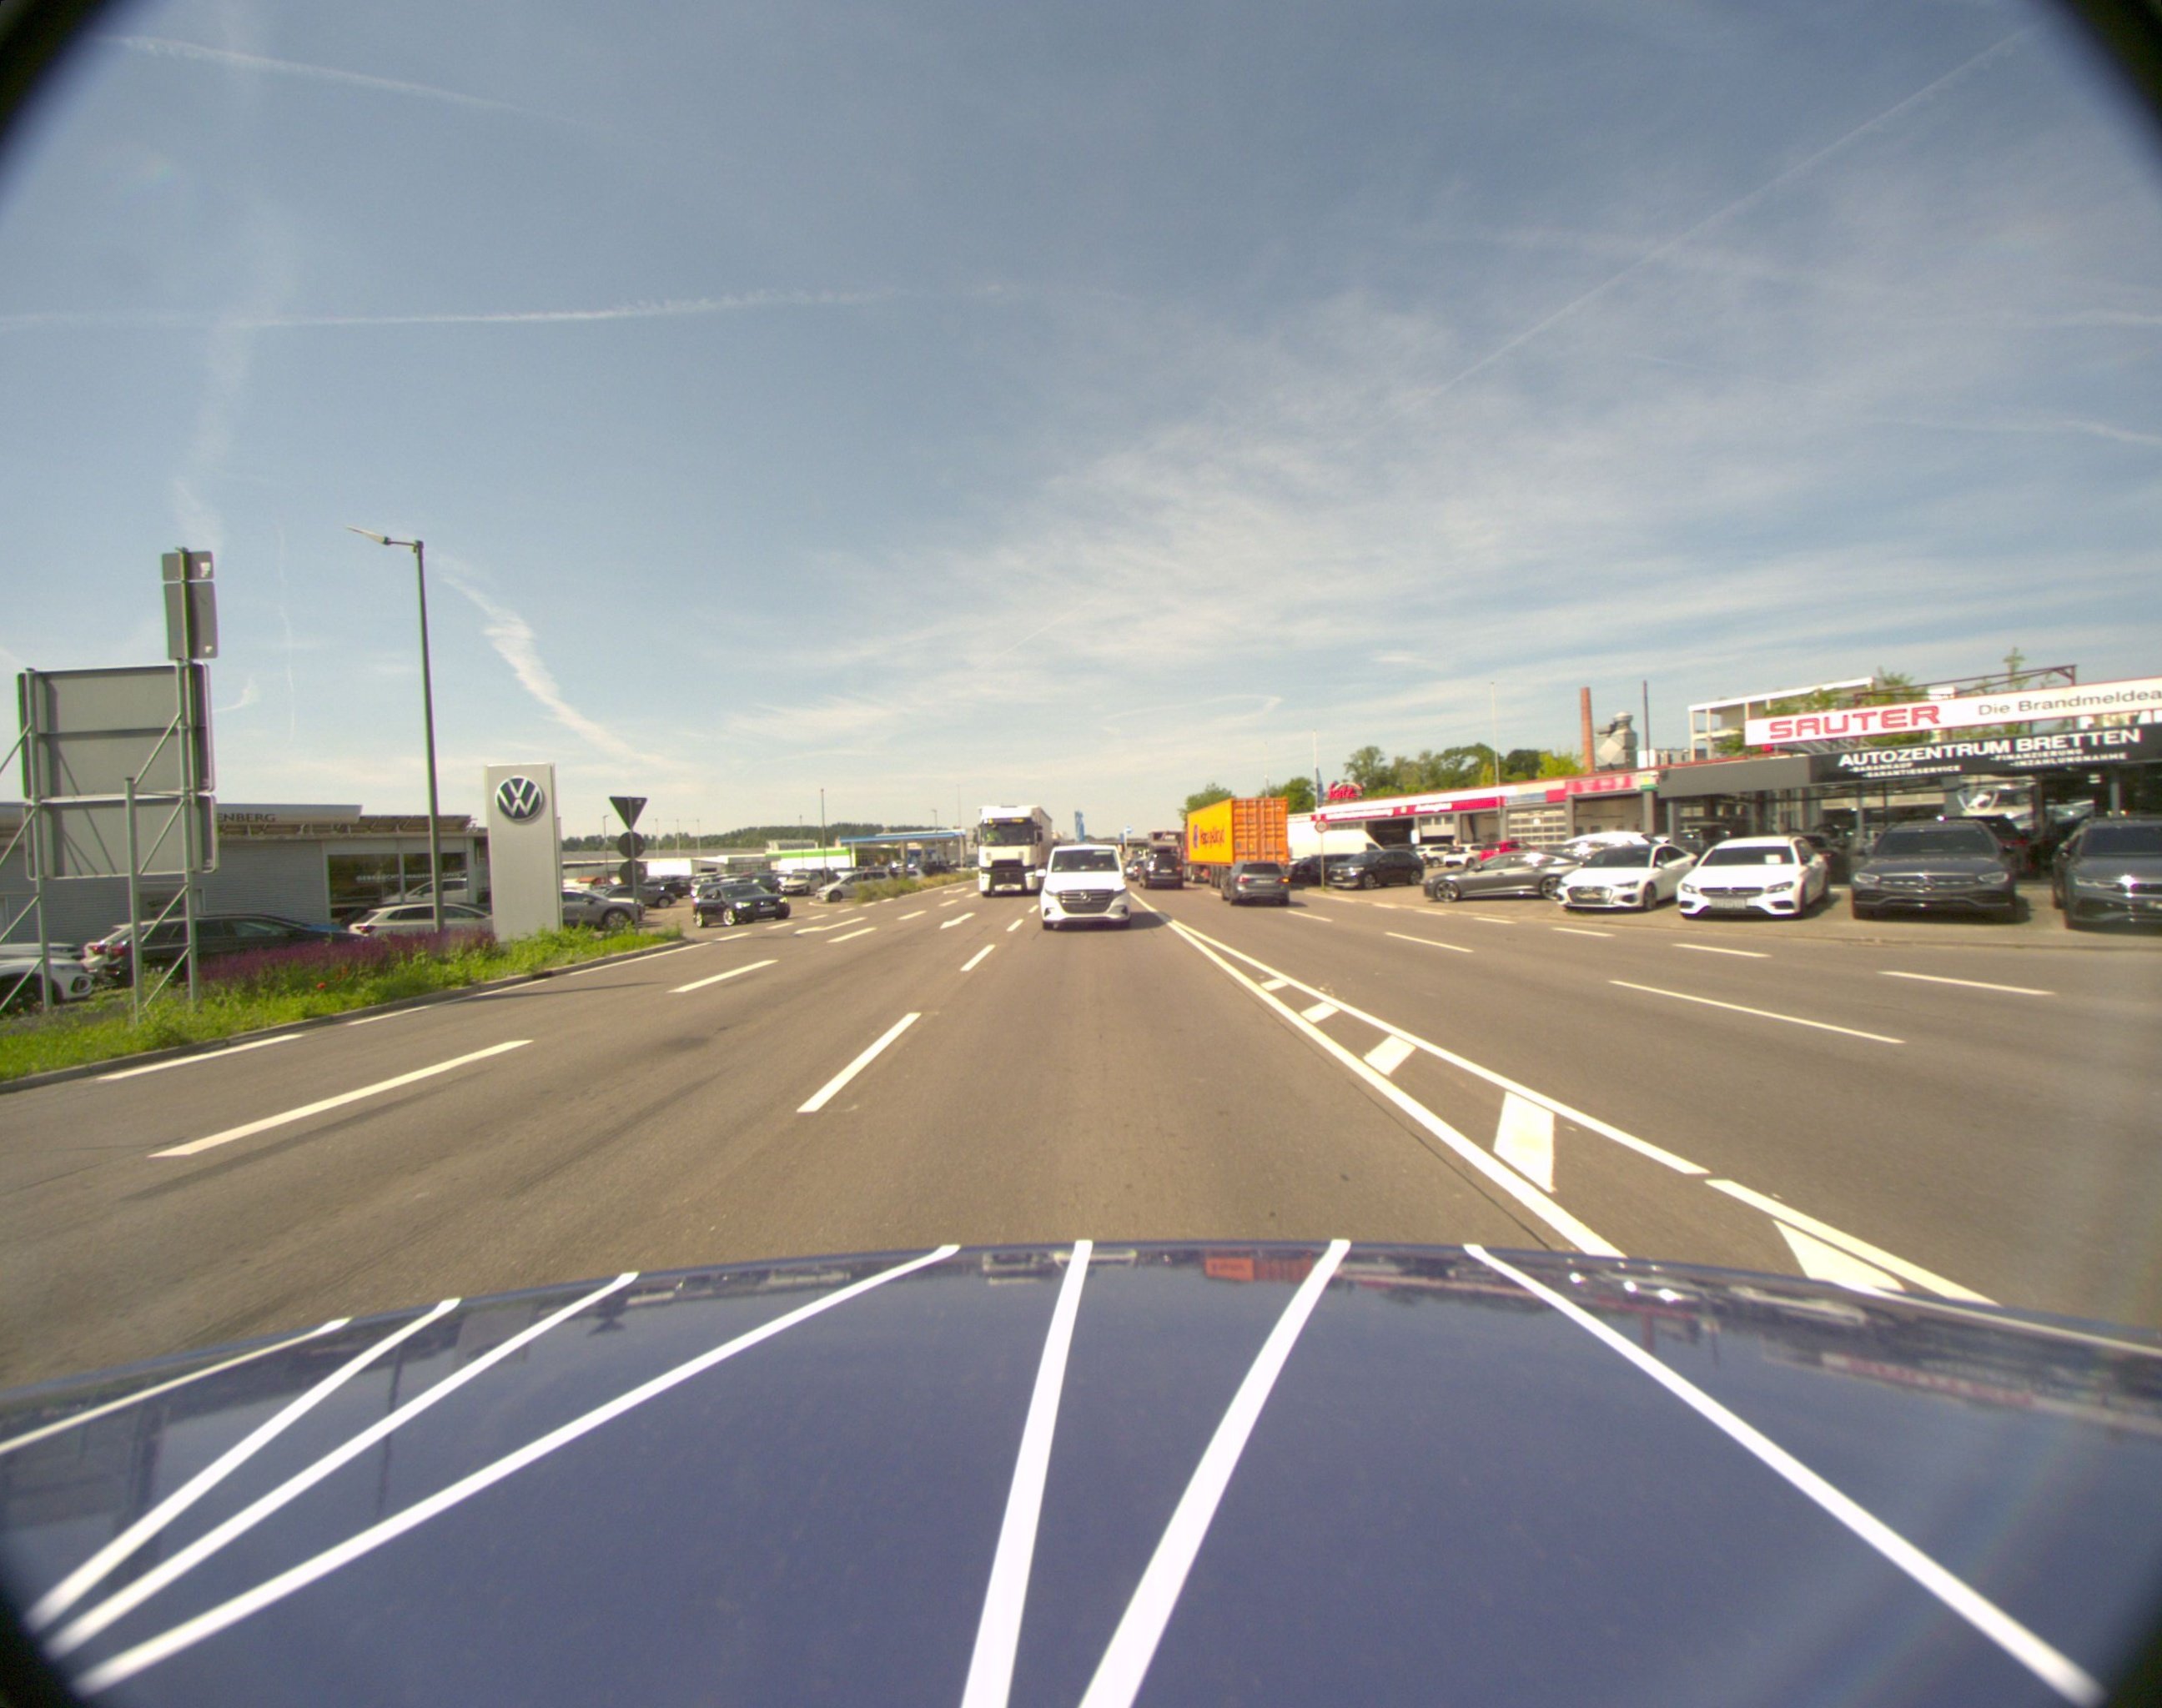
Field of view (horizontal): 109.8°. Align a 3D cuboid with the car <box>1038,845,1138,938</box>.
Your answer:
[{"bbox_3d":[0.178,0.757,18.462,1.993,1.858,5.803,-2,0,1],"label":"car"}]

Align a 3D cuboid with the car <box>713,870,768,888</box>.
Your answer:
[{"bbox_3d":[-30.597,2.193,68.411,1.819,1.423,4.491,-1,0,23],"label":"car"}]

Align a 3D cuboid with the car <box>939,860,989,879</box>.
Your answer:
[{"bbox_3d":[-11.542,1.504,74.964,4.544,1.645,1.772,-2,0,-26],"label":"car"}]

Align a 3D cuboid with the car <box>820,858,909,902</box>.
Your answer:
[{"bbox_3d":[-11.943,1.394,41.930,4.355,2.200,1.760,-2,0,-29],"label":"car"}]

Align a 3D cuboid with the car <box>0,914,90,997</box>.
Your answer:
[{"bbox_3d":[-24.877,2.304,15.984,1.907,1.661,4.828,-1,0,36],"label":"car"}]

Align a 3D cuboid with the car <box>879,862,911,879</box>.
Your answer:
[{"bbox_3d":[-19.842,1.746,81.228,1.774,1.571,4.540,-2,0,6],"label":"car"}]

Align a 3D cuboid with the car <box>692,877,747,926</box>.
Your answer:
[{"bbox_3d":[-14.601,1.855,30.792,1.778,1.645,4.069,-4,1,-25],"label":"car"}]

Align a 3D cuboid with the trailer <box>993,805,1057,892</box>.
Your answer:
[{"bbox_3d":[-2.937,-0.286,42.916,2.613,4.203,11.291,-2,0,0],"label":"trailer"}]

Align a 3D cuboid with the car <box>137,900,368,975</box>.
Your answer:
[{"bbox_3d":[-22.022,2.140,20.342,1.771,1.509,3.968,-1,0,36],"label":"car"}]

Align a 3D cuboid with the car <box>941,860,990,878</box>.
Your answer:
[{"bbox_3d":[-11.814,1.506,77.837,4.543,1.645,1.772,-2,0,-24],"label":"car"}]

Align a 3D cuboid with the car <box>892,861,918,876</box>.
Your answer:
[{"bbox_3d":[-21.489,1.704,92.756,1.712,1.702,4.262,-2,0,6],"label":"car"}]

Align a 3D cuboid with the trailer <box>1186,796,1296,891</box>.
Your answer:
[{"bbox_3d":[7.603,-0.458,38.246,2.728,3.975,12.233,-2,0,-1],"label":"trailer"}]

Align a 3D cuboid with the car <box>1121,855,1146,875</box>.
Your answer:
[{"bbox_3d":[3.926,0.795,57.696,1.716,1.435,4.379,0,0,2],"label":"car"}]

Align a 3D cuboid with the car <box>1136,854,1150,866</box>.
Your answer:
[{"bbox_3d":[8.371,0.844,102.835,1.657,1.546,4.000,0,0,2],"label":"car"}]

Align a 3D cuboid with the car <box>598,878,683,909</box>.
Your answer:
[{"bbox_3d":[-26.283,2.339,45.377,4.084,1.598,1.689,-2,-1,-41],"label":"car"}]

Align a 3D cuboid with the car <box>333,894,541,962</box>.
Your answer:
[{"bbox_3d":[-18.488,2.039,22.007,1.744,1.483,4.272,-1,0,36],"label":"car"}]

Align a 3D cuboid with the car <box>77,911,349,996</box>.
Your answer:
[{"bbox_3d":[-20.762,2.290,18.357,1.791,1.442,4.163,-1,0,36],"label":"car"}]

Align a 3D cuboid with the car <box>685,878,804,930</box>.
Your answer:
[{"bbox_3d":[-11.295,1.704,25.332,1.969,1.325,4.805,-8,2,-44],"label":"car"}]

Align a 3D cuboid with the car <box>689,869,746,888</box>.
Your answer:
[{"bbox_3d":[-33.017,2.220,69.158,1.819,1.574,4.545,-1,0,23],"label":"car"}]

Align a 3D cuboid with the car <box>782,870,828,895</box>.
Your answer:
[{"bbox_3d":[-20.752,2.120,57.333,1.908,1.645,4.708,-2,0,-3],"label":"car"}]

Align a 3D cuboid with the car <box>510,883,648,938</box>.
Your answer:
[{"bbox_3d":[-18.155,2.004,27.732,4.031,1.661,1.772,-2,0,-30],"label":"car"}]

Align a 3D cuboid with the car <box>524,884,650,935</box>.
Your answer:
[{"bbox_3d":[-19.345,2.112,29.818,4.007,1.661,1.916,-2,0,-36],"label":"car"}]

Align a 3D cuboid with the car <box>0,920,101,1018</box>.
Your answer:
[{"bbox_3d":[-21.136,2.233,13.852,1.771,1.661,3.917,-1,0,36],"label":"car"}]

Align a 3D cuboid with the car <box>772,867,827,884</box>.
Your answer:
[{"bbox_3d":[-26.963,2.051,72.777,4.530,1.450,1.951,-2,0,12],"label":"car"}]

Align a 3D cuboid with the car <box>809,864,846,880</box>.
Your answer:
[{"bbox_3d":[-27.405,1.929,82.336,1.773,1.645,4.541,-2,0,10],"label":"car"}]

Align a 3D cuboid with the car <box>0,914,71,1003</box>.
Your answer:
[{"bbox_3d":[-23.054,2.180,14.691,1.771,1.661,4.178,-1,0,36],"label":"car"}]

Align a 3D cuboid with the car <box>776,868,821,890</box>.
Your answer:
[{"bbox_3d":[-23.443,2.067,63.296,1.774,1.645,4.434,-2,0,4],"label":"car"}]

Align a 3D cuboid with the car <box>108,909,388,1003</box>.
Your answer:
[{"bbox_3d":[-18.750,2.188,17.297,1.771,1.523,4.098,-1,0,36],"label":"car"}]

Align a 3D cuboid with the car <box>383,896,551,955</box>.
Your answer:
[{"bbox_3d":[-19.488,2.198,24.262,1.745,1.467,3.803,-1,0,36],"label":"car"}]

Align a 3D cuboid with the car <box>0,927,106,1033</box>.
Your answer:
[{"bbox_3d":[-19.089,2.193,12.133,1.855,1.567,4.242,-1,0,36],"label":"car"}]

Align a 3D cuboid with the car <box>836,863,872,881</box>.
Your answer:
[{"bbox_3d":[-22.747,1.812,76.177,1.774,1.645,4.540,-2,0,6],"label":"car"}]

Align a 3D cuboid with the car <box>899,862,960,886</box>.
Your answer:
[{"bbox_3d":[-11.306,1.488,56.753,4.006,1.645,1.772,-2,0,-32],"label":"car"}]

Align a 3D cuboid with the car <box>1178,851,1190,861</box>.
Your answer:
[{"bbox_3d":[15.767,0.315,116.498,1.827,1.517,4.461,0,0,8],"label":"car"}]
